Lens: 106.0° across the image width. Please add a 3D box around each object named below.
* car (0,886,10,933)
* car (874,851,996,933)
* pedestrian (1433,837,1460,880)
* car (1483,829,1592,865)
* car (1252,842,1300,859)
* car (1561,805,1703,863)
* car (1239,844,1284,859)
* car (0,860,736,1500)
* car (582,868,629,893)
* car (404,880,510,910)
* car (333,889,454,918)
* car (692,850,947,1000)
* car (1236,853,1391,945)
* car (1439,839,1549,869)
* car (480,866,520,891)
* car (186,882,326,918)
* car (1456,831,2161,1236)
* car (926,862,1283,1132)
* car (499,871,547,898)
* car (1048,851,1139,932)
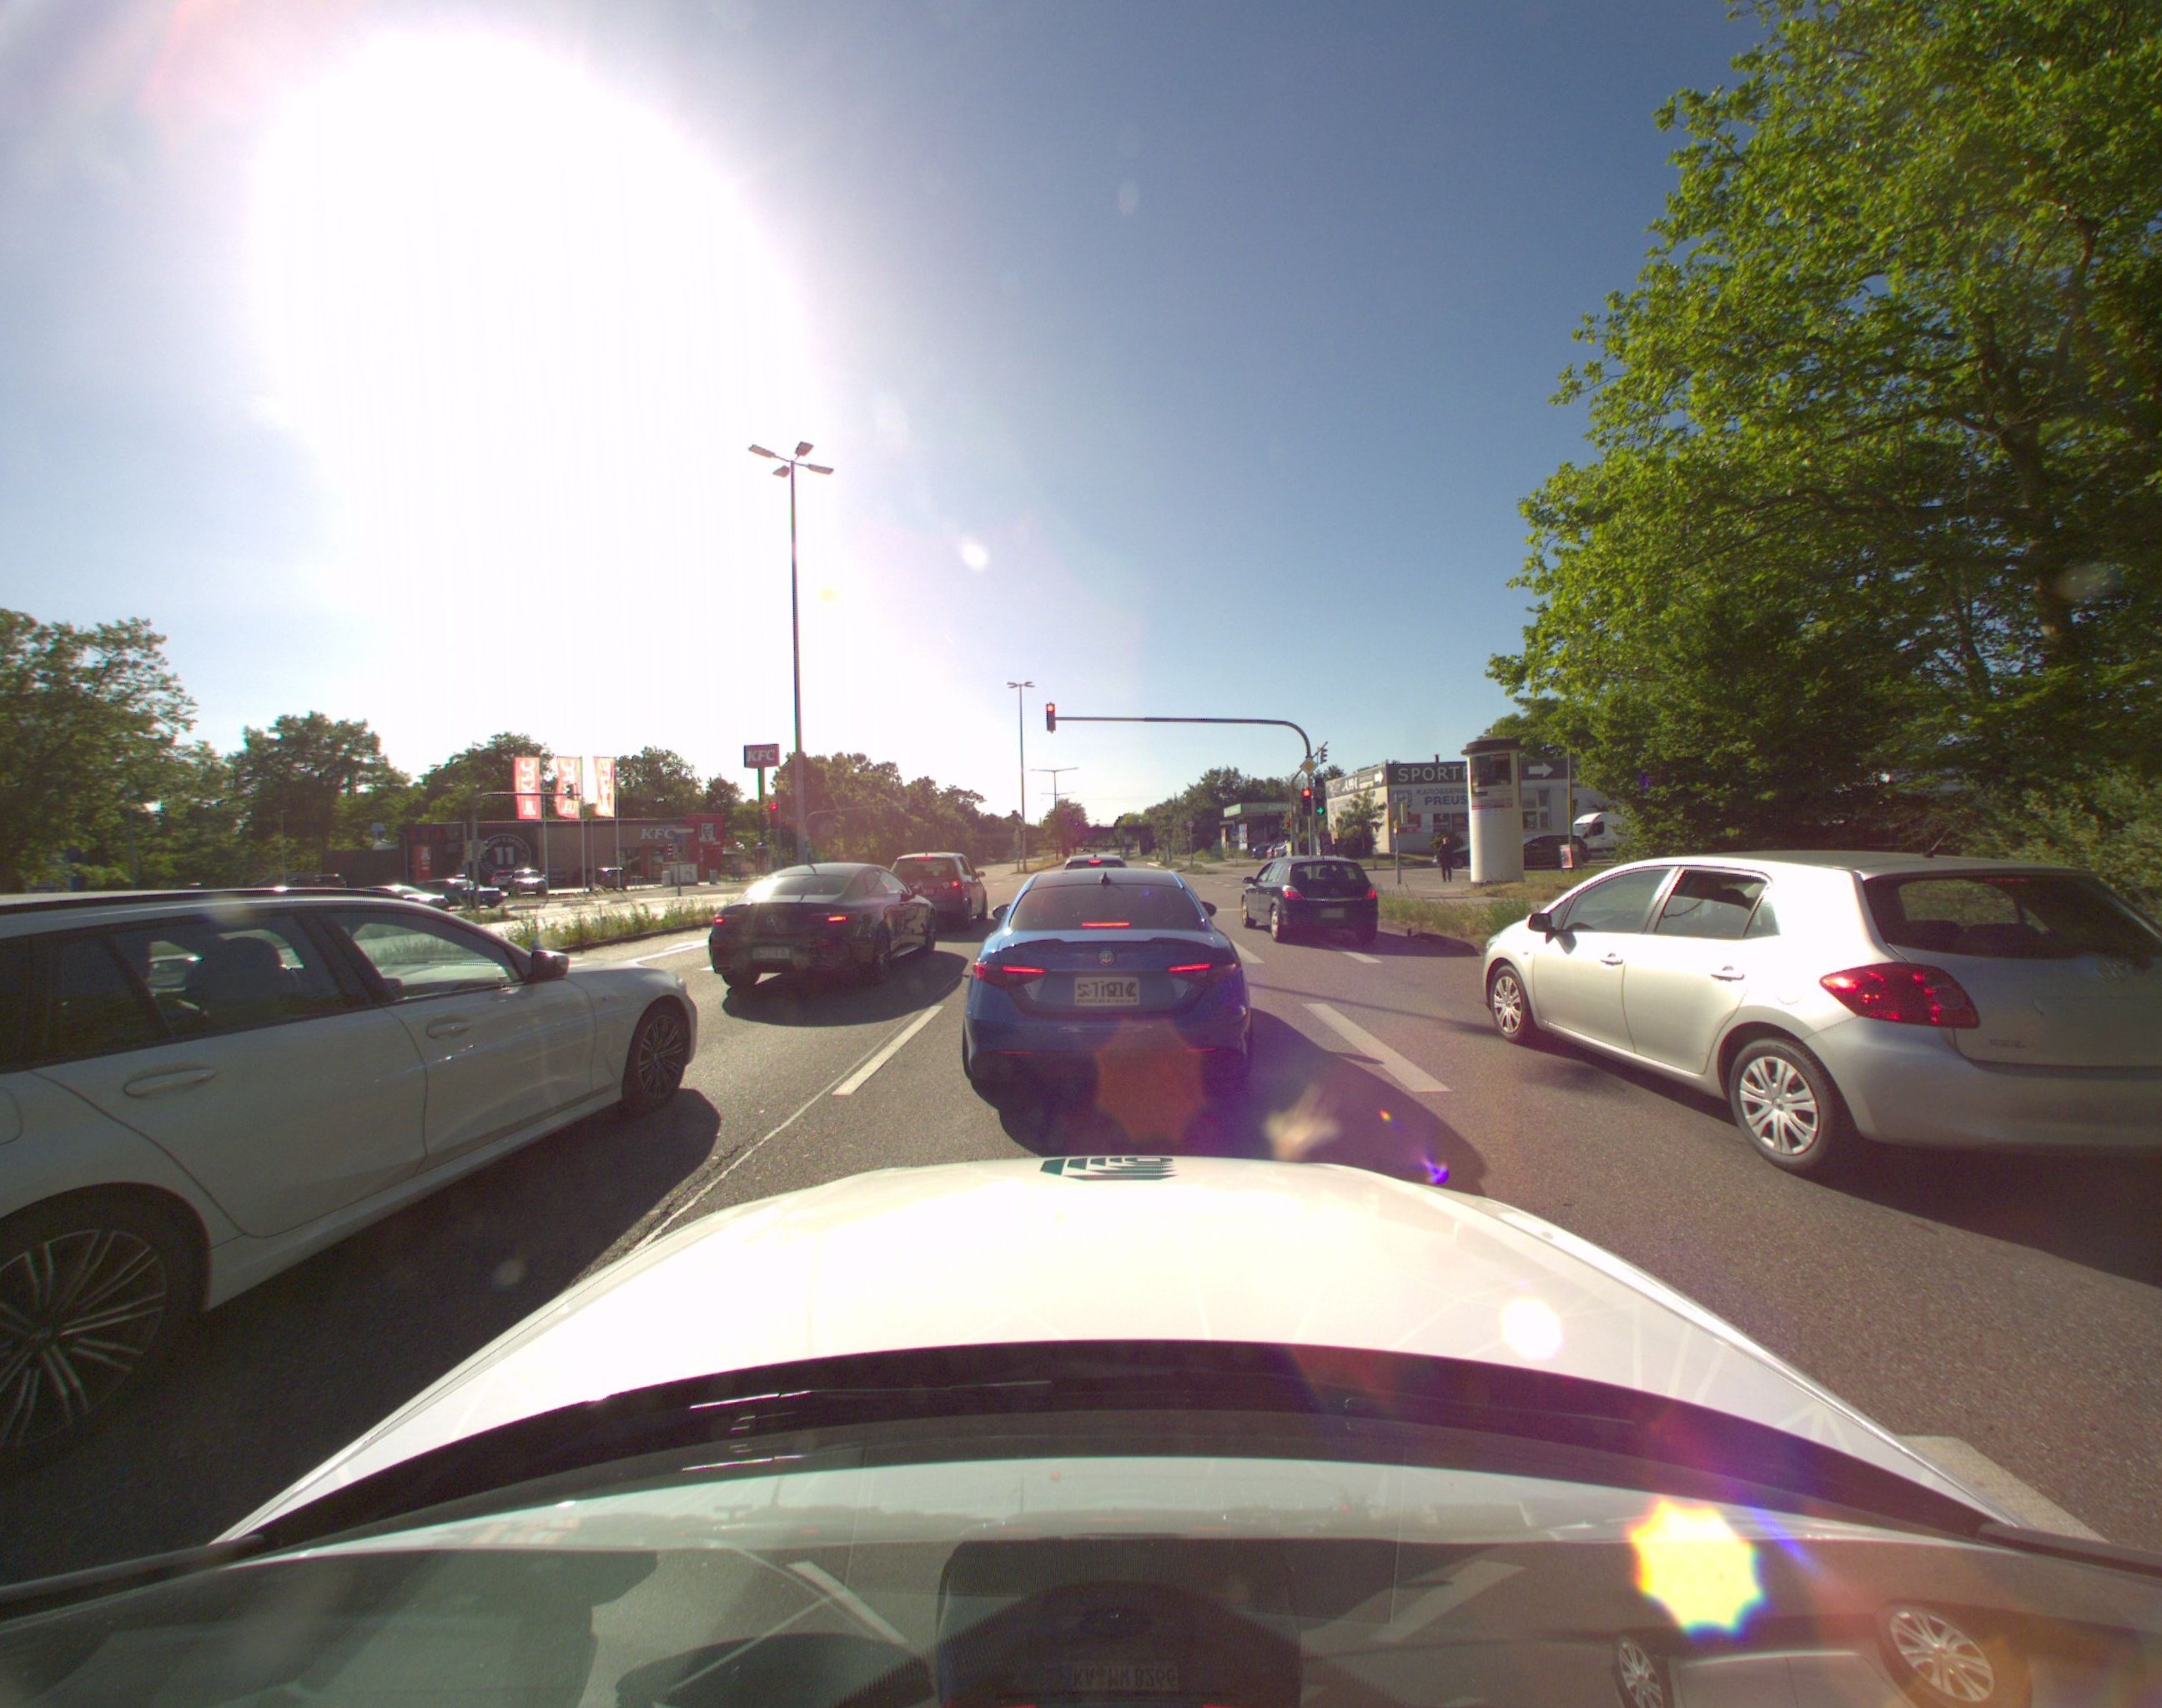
[{"bbox_3d":[-34.194,1.708,23.250,1.989,1.442,3.996,0,-1,-3],"label":"car"},{"bbox_3d":[-3.002,0.736,17.616,1.806,1.551,4.353,0,-1,0],"label":"car"},{"bbox_3d":[14.197,0.187,31.658,0.814,1.669,0.514,0,-1,1],"label":"pedestrian"},{"bbox_3d":[21.655,-0.307,38.736,4.291,1.650,1.638,0,-1,1],"label":"car"},{"bbox_3d":[17.820,-0.311,74.450,3.971,1.552,2.001,0,-1,2],"label":"car"},{"bbox_3d":[28.361,-0.979,42.051,5.812,2.672,2.001,-3,-1,2],"label":"car"},{"bbox_3d":[18.354,-0.245,82.789,3.995,1.552,1.989,0,-1,-16],"label":"car"},{"bbox_3d":[-3.425,0.807,3.413,1.805,1.486,4.599,-1,0,2],"label":"car"},{"bbox_3d":[-33.910,1.861,58.018,1.946,1.740,4.046,0,-1,-45],"label":"car"},{"bbox_3d":[-31.916,2.088,41.744,3.939,1.453,1.937,0,-1,1],"label":"car"},{"bbox_3d":[-32.179,2.310,38.200,4.070,1.252,1.871,0,-1,0],"label":"car"},{"bbox_3d":[-3.123,0.744,10.817,1.806,1.551,4.544,-1,0,1],"label":"car"},{"bbox_3d":[4.072,0.712,15.014,1.727,1.442,4.373,0,0,2],"label":"car"},{"bbox_3d":[21.358,0.019,42.243,4.803,1.468,1.758,0,-1,0],"label":"car"},{"bbox_3d":[-45.102,1.879,63.190,2.011,1.813,3.726,0,-1,-43],"label":"car"},{"bbox_3d":[-39.092,2.183,38.683,4.608,1.579,1.936,0,-1,0],"label":"car"},{"bbox_3d":[4.155,0.671,5.144,1.777,1.537,4.109,0,0,2],"label":"car"},{"bbox_3d":[0.231,0.784,6.227,1.901,1.423,3.722,0,-1,3],"label":"car"},{"bbox_3d":[-37.377,2.016,54.547,1.946,1.740,4.046,0,-1,-45],"label":"car"},{"bbox_3d":[0.348,0.719,17.043,1.696,1.497,3.722,0,-1,3],"label":"car"}]
